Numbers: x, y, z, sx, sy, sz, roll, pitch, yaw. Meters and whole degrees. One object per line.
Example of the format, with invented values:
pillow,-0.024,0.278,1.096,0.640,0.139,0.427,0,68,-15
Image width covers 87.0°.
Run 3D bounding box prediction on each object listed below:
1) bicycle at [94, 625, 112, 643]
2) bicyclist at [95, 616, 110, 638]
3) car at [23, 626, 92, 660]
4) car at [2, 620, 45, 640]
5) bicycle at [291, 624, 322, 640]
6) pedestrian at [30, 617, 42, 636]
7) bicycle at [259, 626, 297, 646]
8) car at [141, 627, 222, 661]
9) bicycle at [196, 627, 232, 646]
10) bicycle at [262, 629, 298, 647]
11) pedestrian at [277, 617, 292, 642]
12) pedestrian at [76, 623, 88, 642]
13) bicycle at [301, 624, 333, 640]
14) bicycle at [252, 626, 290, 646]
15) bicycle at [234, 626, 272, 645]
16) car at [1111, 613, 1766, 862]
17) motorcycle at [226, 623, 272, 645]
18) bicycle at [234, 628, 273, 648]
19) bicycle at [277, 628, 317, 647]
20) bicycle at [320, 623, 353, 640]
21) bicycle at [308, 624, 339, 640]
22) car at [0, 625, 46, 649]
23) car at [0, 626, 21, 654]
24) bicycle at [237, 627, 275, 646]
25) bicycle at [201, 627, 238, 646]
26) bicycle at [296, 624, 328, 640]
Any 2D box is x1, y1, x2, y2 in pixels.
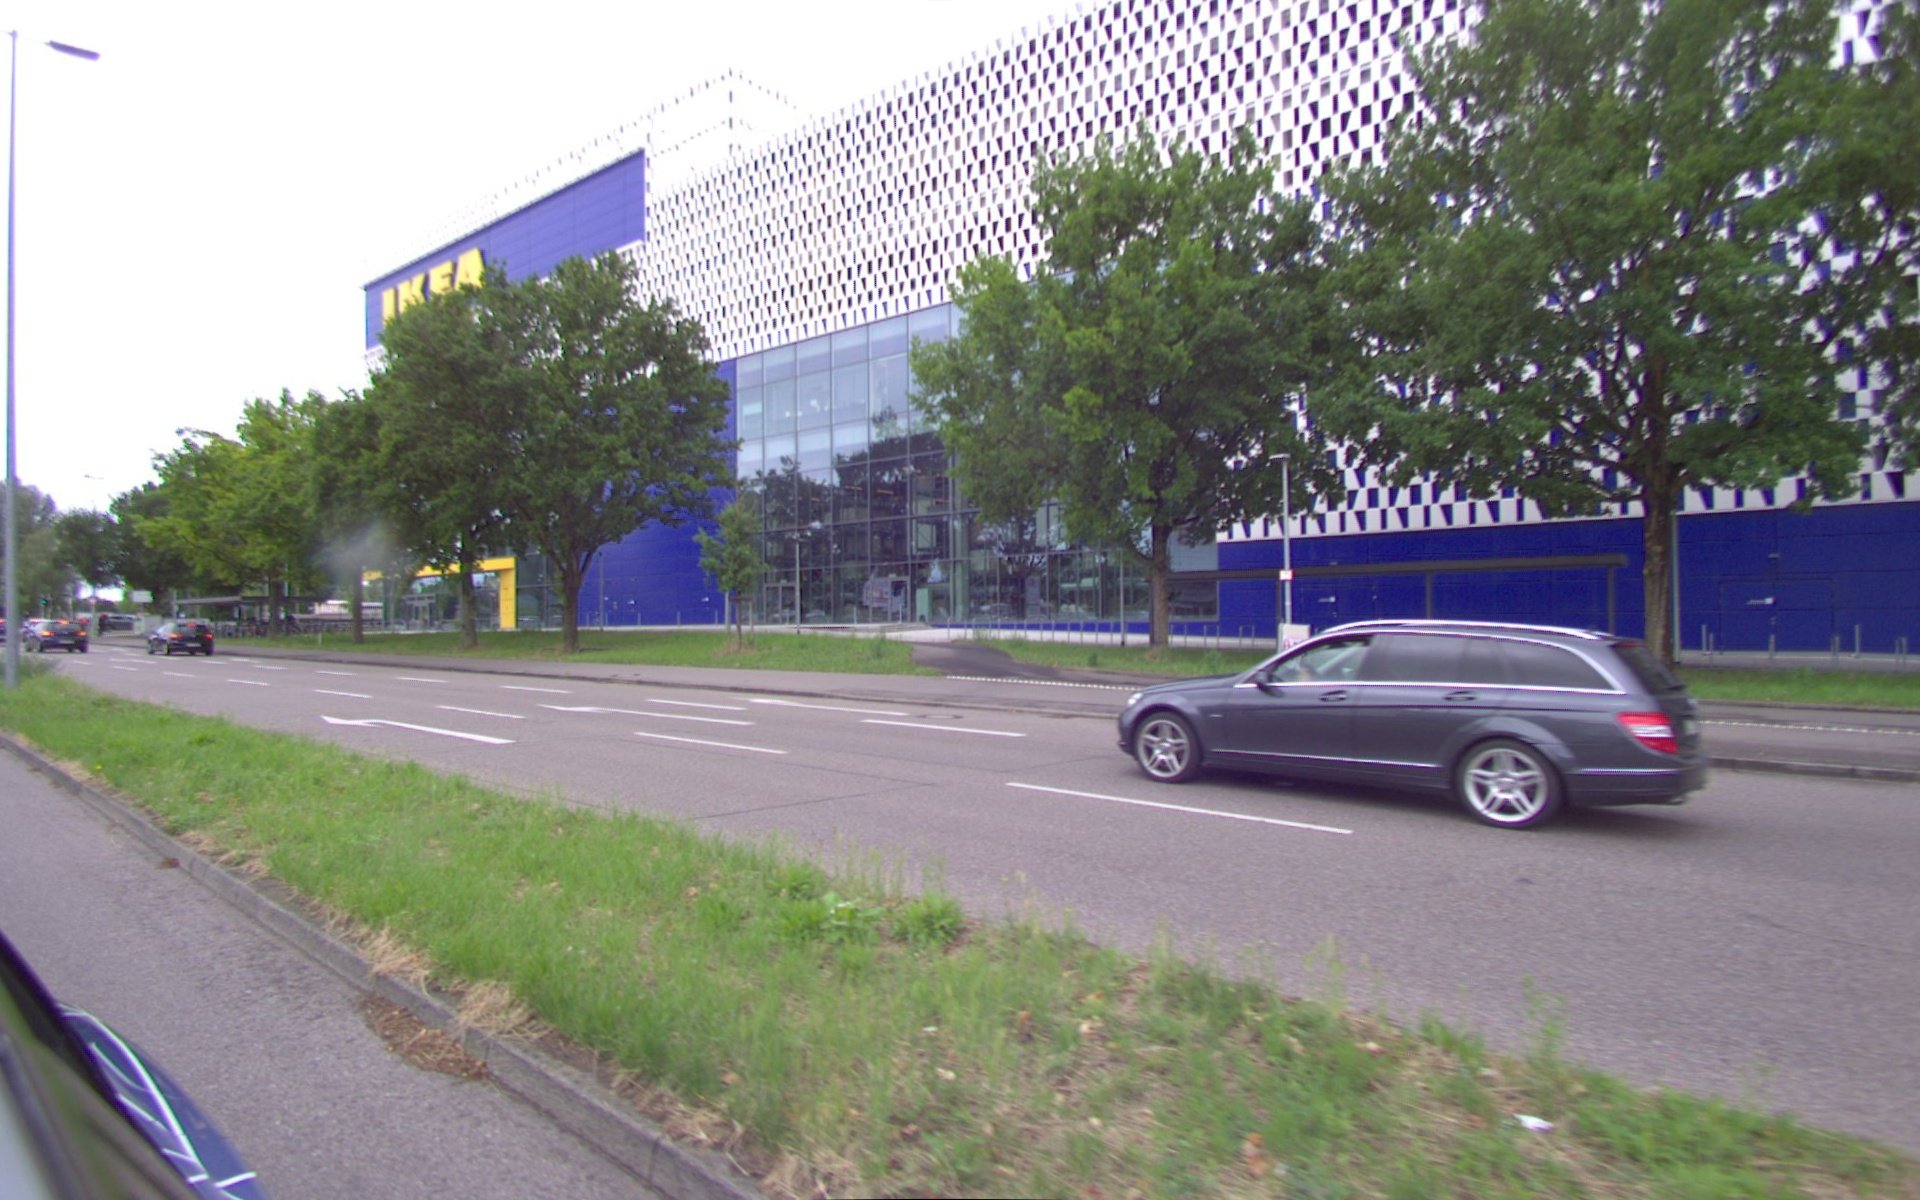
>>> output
bicycle,-62.840,2.471,74.182,2.054,1.260,0.636,-2,0,39
bicyclist,-62.852,1.968,74.159,0.999,1.589,0.634,-2,0,39
car,-41.226,1.923,46.186,4.179,1.467,1.762,-1,-2,40
car,-71.477,2.277,77.190,4.164,1.465,1.847,-1,-2,40
bicycle,-51.204,2.505,79.311,0.593,1.165,1.997,-2,0,37
pedestrian,-89.297,2.540,97.818,0.686,1.778,0.656,3,-2,36
bicycle,-44.787,2.364,66.491,0.593,1.165,1.996,-1,0,39
car,-34.935,1.941,45.391,4.177,1.467,1.912,-1,-2,38
bicycle,-49.939,2.458,67.756,0.593,1.165,1.875,-1,0,39
bicycle,-43.931,2.456,65.415,0.593,1.090,1.792,-1,0,39
pedestrian,-49.835,2.177,74.676,0.807,1.759,0.670,-2,-1,39
pedestrian,-78.516,2.859,90.504,0.808,1.655,0.627,2,0,37
bicycle,-49.415,2.462,77.809,0.593,1.165,1.997,-2,0,37
bicycle,-45.801,2.385,67.305,0.593,1.165,1.996,-1,0,39
bicycle,-48.266,2.426,69.081,0.593,1.165,1.996,-1,0,39
car,3.629,0.892,8.282,4.531,1.491,1.772,-1,-3,43
motorcycle,-49.153,2.337,69.992,0.796,1.365,2.478,-2,0,27
bicycle,-44.699,2.409,64.075,1.989,1.165,0.595,-2,0,-37
bicycle,-42.071,2.372,64.245,0.593,1.131,1.995,-1,0,41
bicycle,-46.492,2.360,75.503,0.592,1.165,2.000,-2,0,33
bicycle,-48.286,2.424,76.811,0.590,1.165,2.004,-2,0,26
car,-60.467,2.394,65.070,4.399,1.463,1.755,-1,-3,38
car,-53.941,2.194,56.432,3.996,1.464,1.740,0,-2,40
bicycle,-47.006,2.404,67.567,0.593,1.165,1.996,-1,0,39
bicycle,-49.060,2.428,67.073,0.593,1.165,1.875,-1,0,39
bicycle,-50.358,2.479,78.601,0.593,1.165,1.997,-2,0,37
